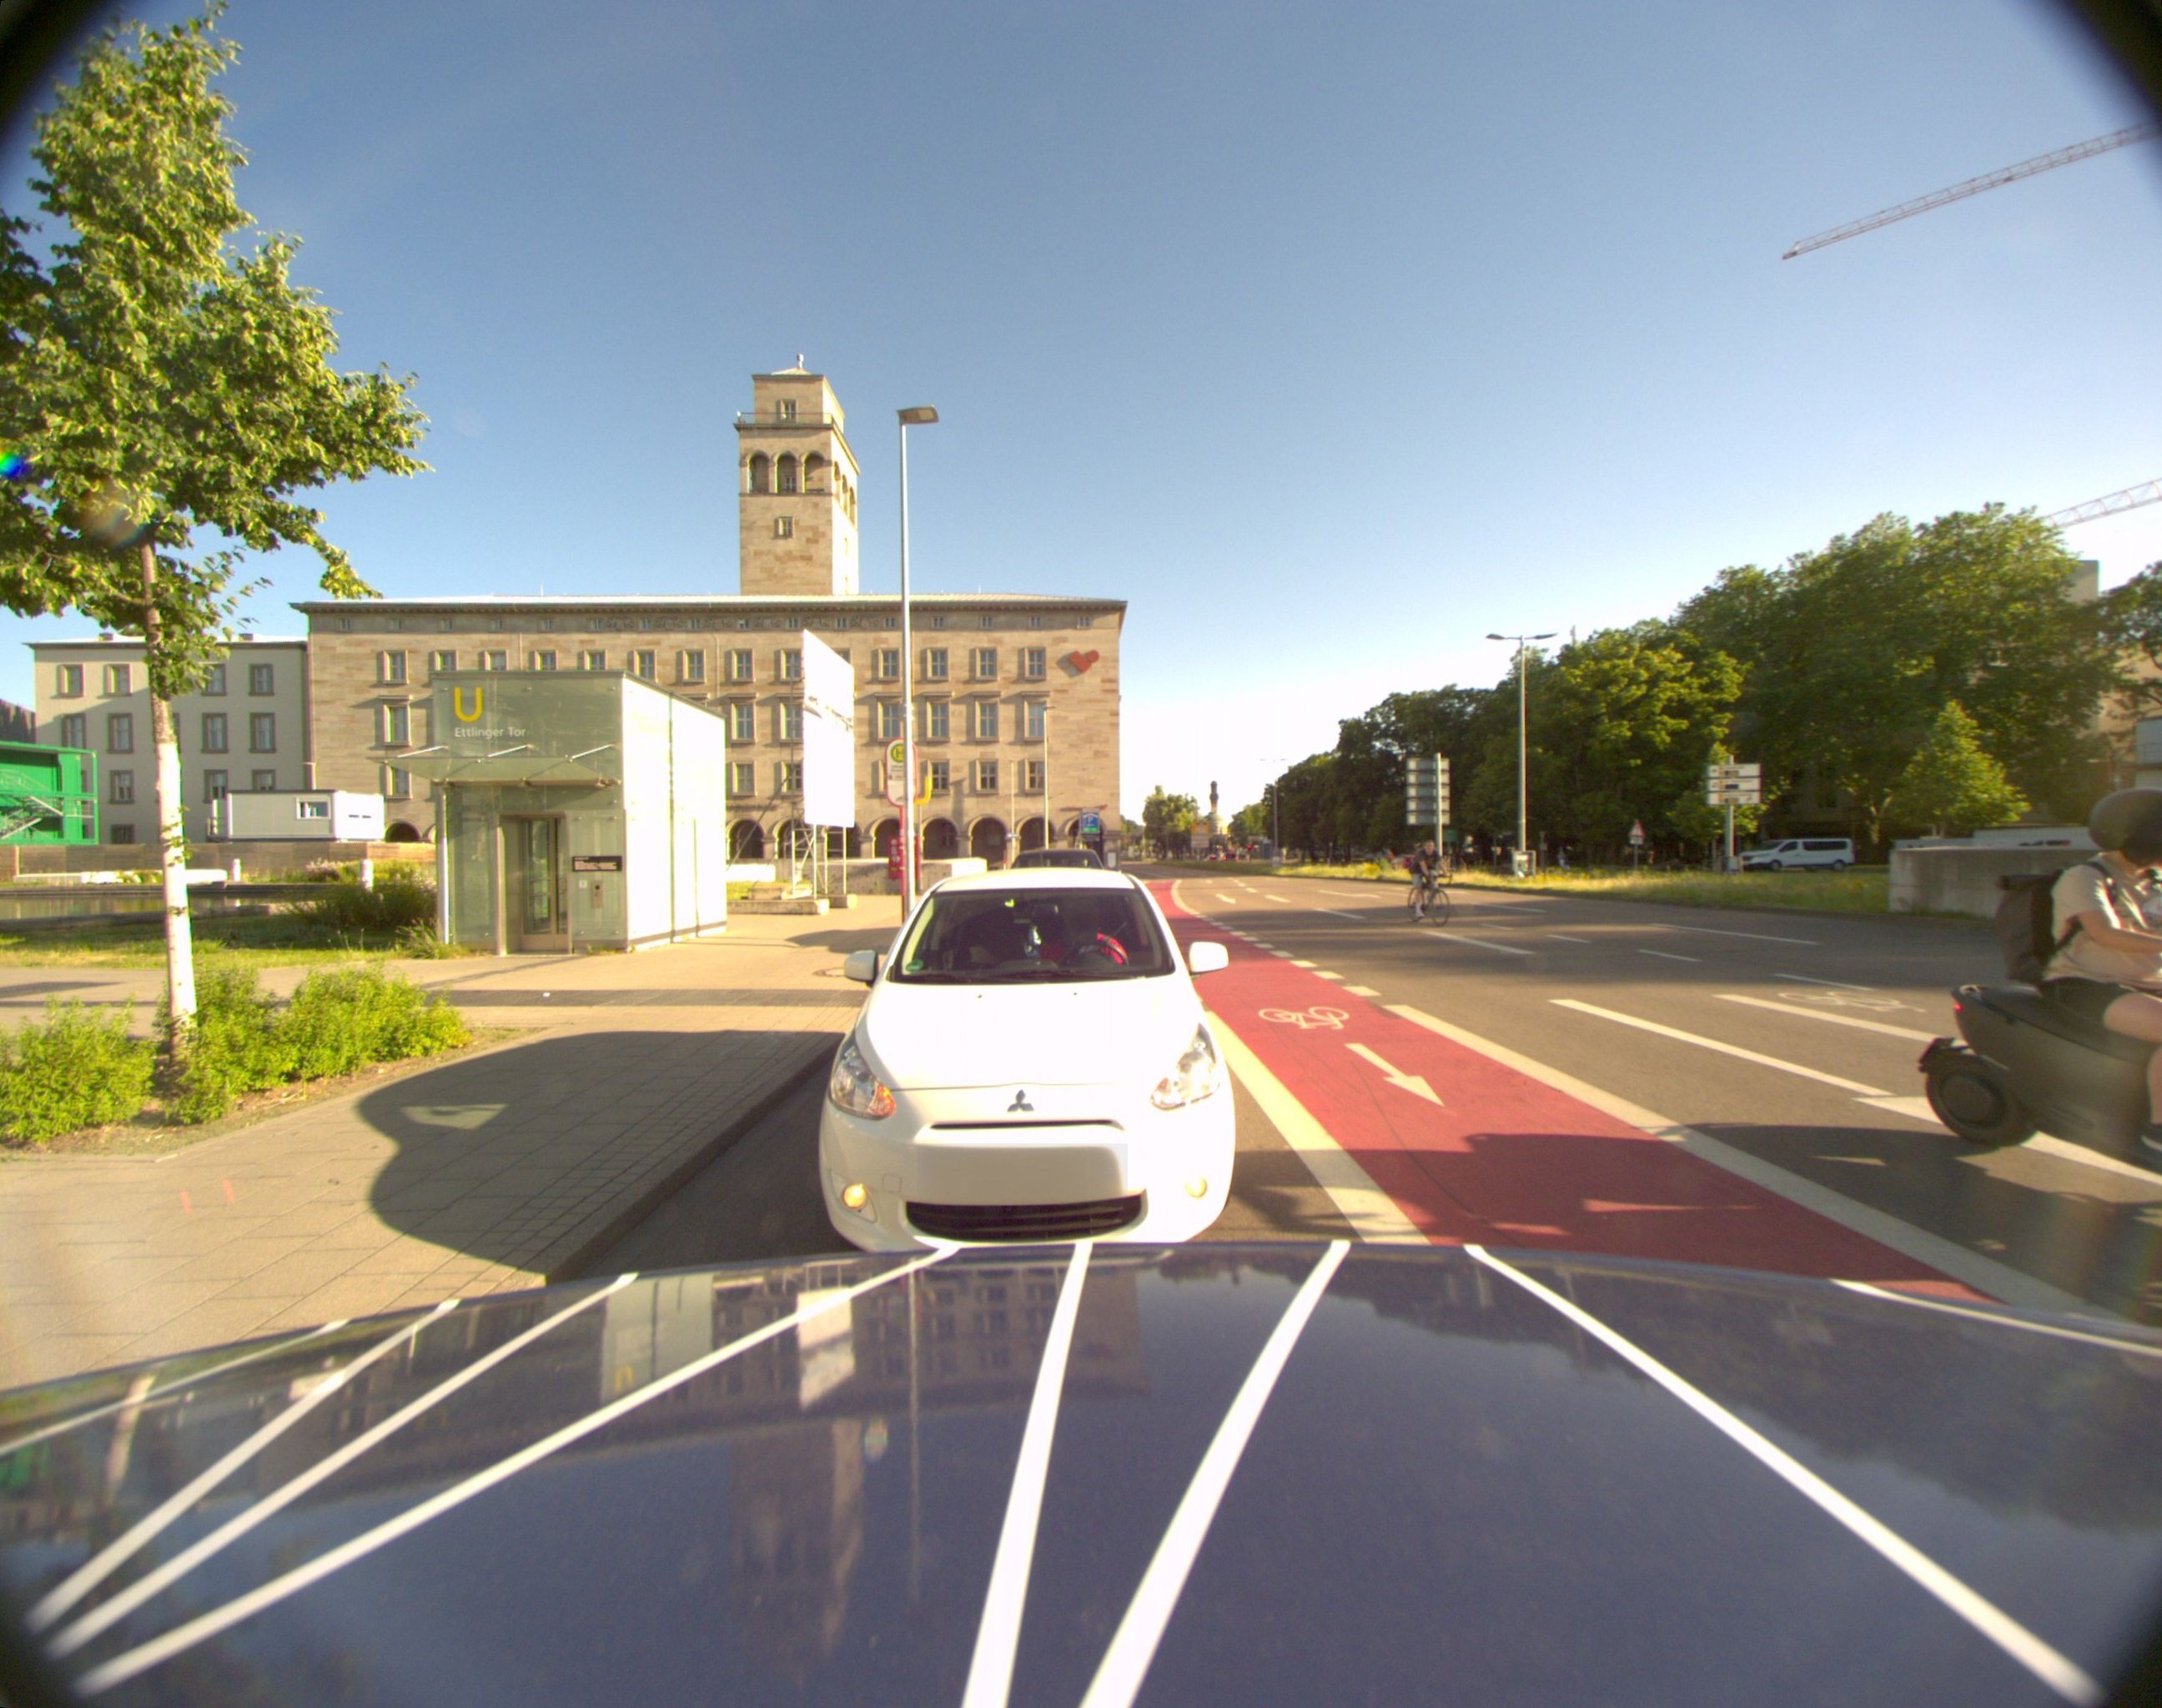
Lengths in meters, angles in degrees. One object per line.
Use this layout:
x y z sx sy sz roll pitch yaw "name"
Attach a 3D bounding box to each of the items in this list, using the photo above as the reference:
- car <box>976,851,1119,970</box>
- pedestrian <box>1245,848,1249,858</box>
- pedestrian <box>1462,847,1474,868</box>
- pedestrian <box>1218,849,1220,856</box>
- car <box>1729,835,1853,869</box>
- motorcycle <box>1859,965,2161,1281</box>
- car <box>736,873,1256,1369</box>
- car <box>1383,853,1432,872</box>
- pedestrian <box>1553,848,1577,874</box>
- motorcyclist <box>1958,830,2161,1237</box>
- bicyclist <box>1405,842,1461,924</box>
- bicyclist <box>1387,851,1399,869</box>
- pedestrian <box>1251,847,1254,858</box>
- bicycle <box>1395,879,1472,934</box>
-0.490 0.785 13.125 1.999 1.652 4.791 -1 0 0 "car"
33.316 -0.263 152.452 0.525 2.002 0.594 -1 1 -2 "pedestrian"
32.196 0.268 63.267 0.664 1.716 0.698 -1 1 0 "pedestrian"
30.657 -0.303 168.734 0.442 1.550 0.499 -1 1 1 "pedestrian"
42.003 -0.119 45.042 5.325 1.880 2.000 -1 0 2 "car"
4.306 1.059 2.908 0.756 0.963 1.960 -1 0 5 "motorcycle"
-0.253 0.942 4.502 1.660 1.463 3.969 -3 0 1 "car"
22.118 0.559 51.571 1.618 1.126 3.770 -2 0 -1 "car"
33.540 0.473 52.687 0.997 1.773 0.964 -2 1 1 "pedestrian"
4.310 0.646 2.963 0.756 1.475 0.882 -1 1 5 "motorcyclist"
6.685 0.530 14.470 0.624 1.494 0.938 -2 1 2 "bicyclist"
24.020 0.466 58.564 0.617 1.359 0.768 -1 1 1 "bicyclist"
34.390 -0.302 152.560 0.525 2.002 0.594 -1 1 -2 "pedestrian"
6.699 0.974 14.545 0.624 0.903 1.910 -2 0 2 "bicycle"
